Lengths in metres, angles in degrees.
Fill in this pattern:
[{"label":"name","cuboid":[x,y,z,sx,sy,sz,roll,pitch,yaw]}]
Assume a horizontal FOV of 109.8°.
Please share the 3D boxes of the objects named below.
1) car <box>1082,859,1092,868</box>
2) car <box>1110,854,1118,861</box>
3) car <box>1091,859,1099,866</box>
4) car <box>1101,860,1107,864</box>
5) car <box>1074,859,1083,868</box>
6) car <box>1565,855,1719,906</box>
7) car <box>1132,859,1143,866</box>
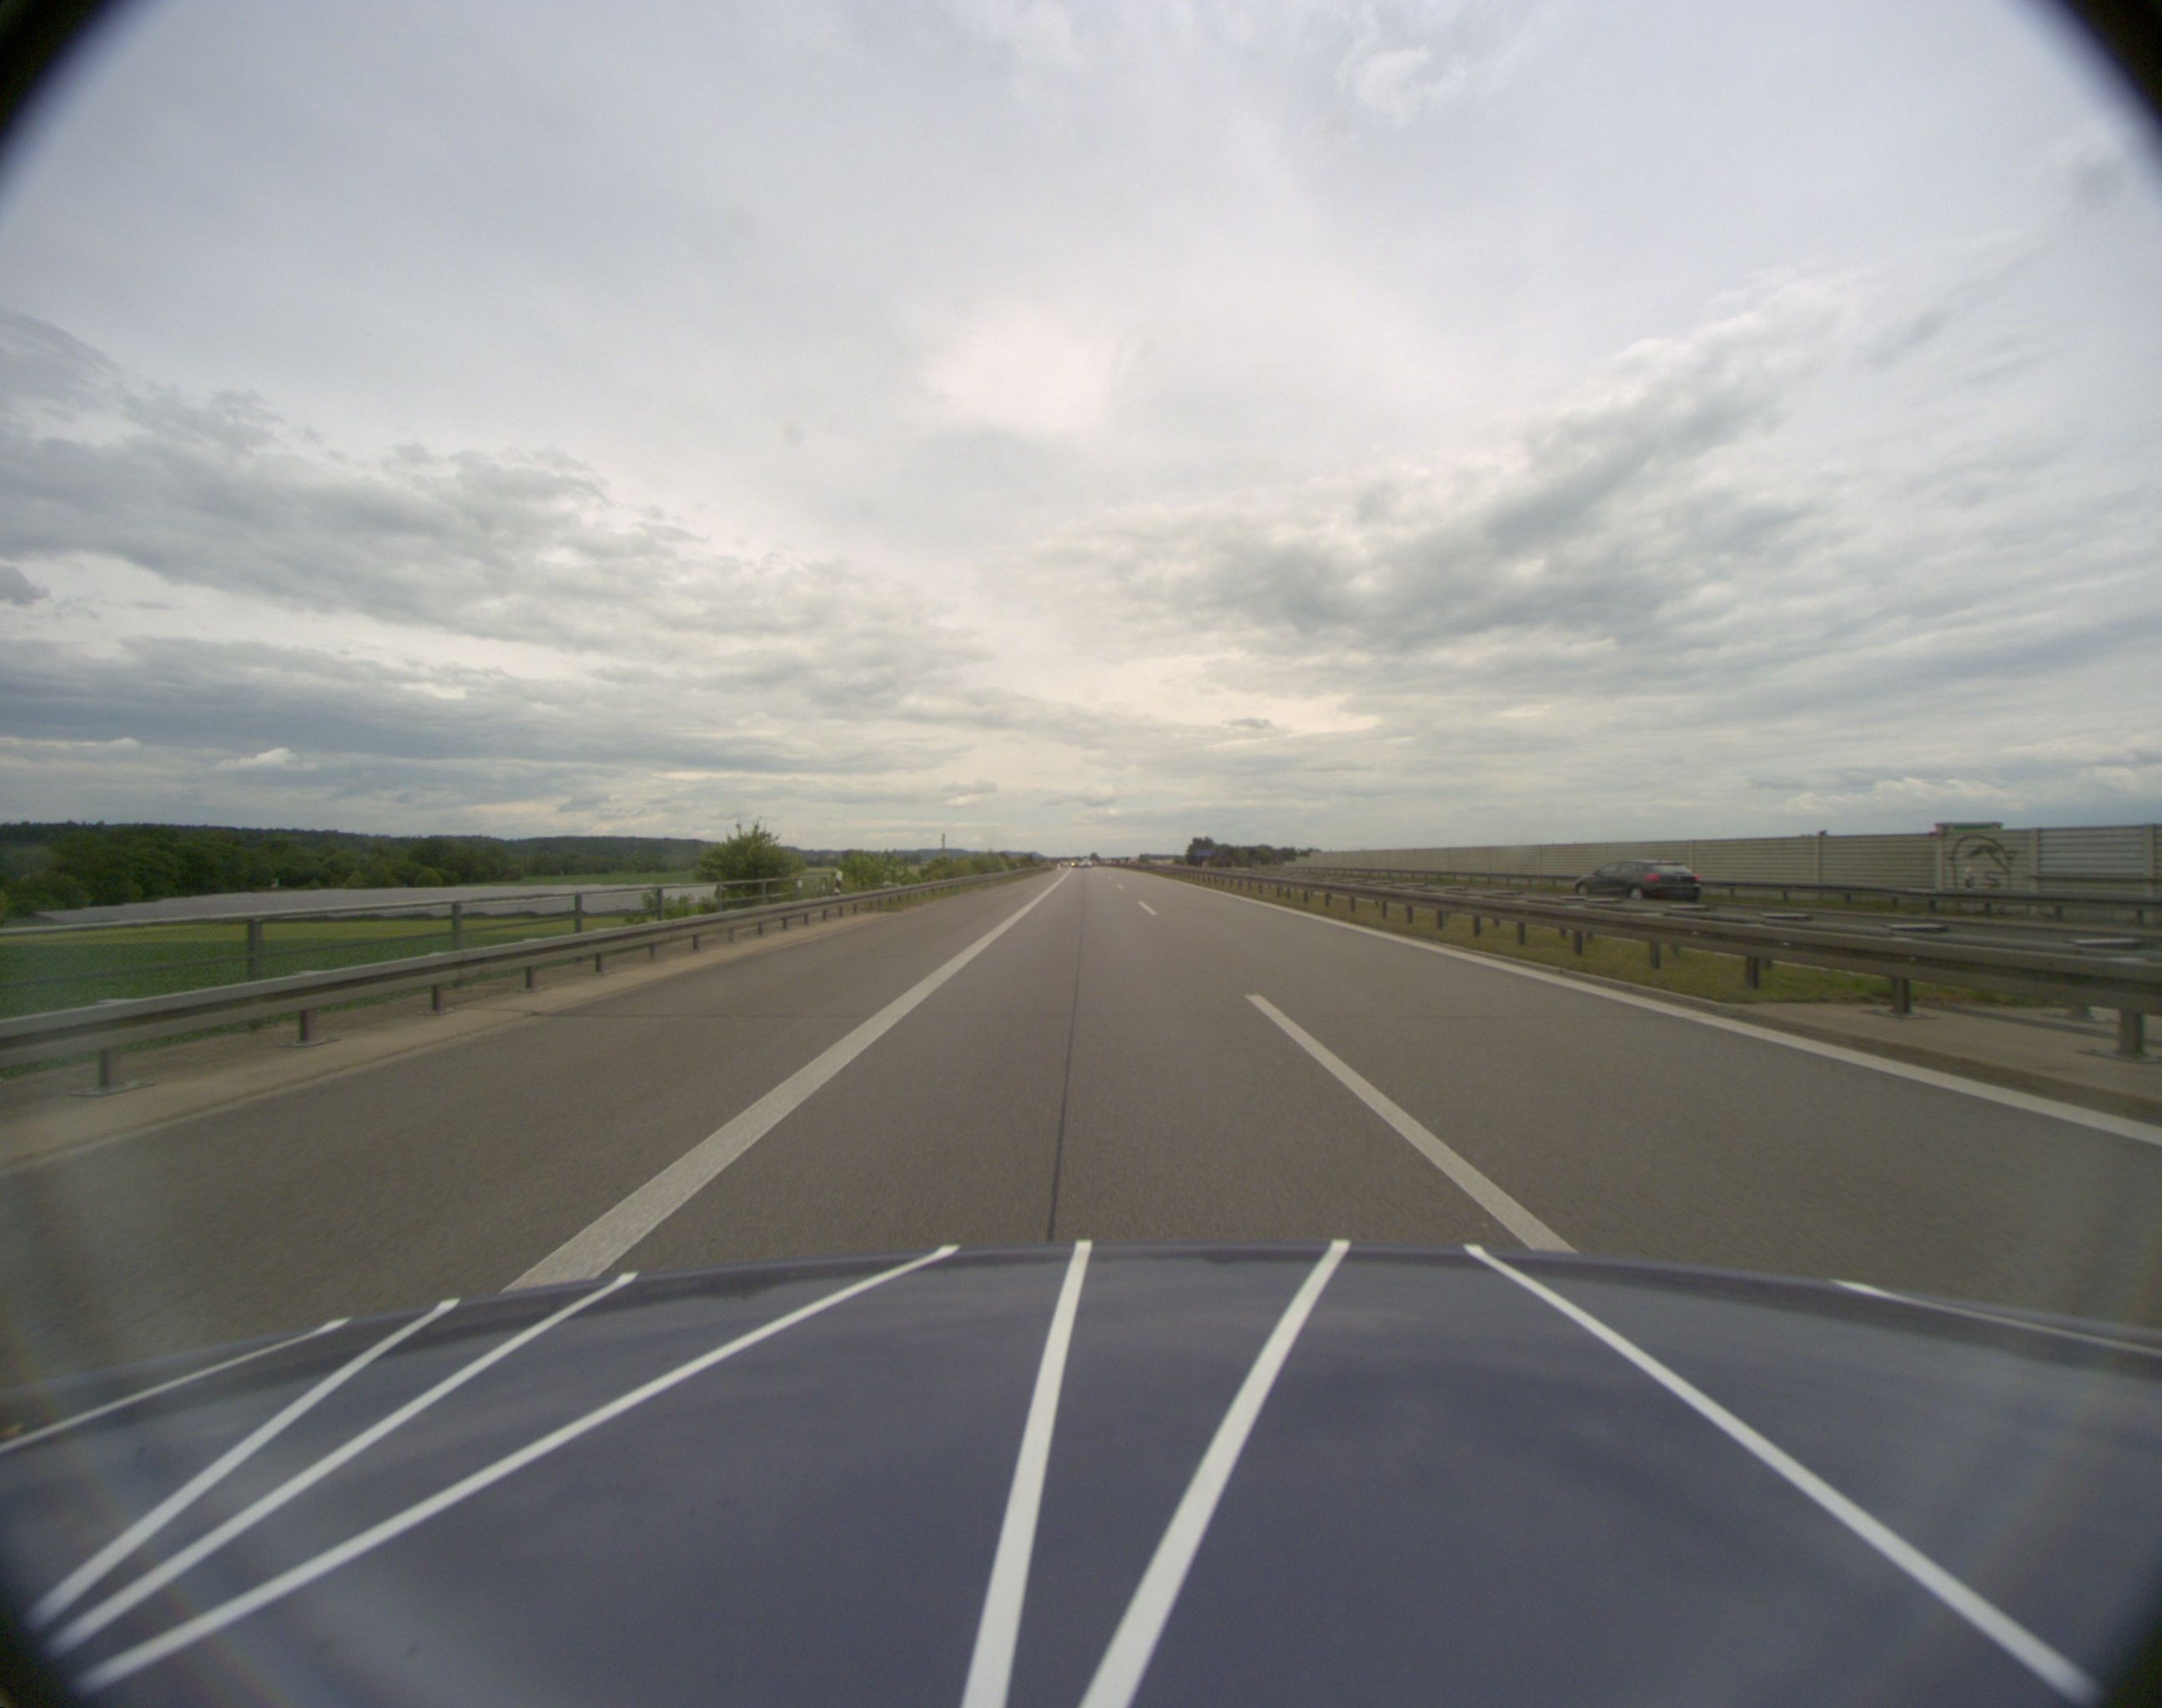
[{"label":"car","cuboid":[1.126,1.796,139.788,1.850,1.664,4.200,0,-1,0]},{"label":"car","cuboid":[9.462,0.947,216.296,2.075,1.735,4.961,1,-1,0]},{"label":"car","cuboid":[3.184,1.974,174.199,1.850,1.664,4.200,0,-1,0]},{"label":"car","cuboid":[7.924,2.665,259.281,1.804,1.385,4.000,-3,-1,-1]},{"label":"car","cuboid":[-0.507,2.008,158.917,1.851,1.850,4.000,0,-1,-2]},{"label":"car","cuboid":[18.165,0.805,24.918,1.708,1.486,4.566,0,0,1]},{"label":"car","cuboid":[11.494,1.728,154.825,1.792,1.442,5.173,-2,0,0]}]
